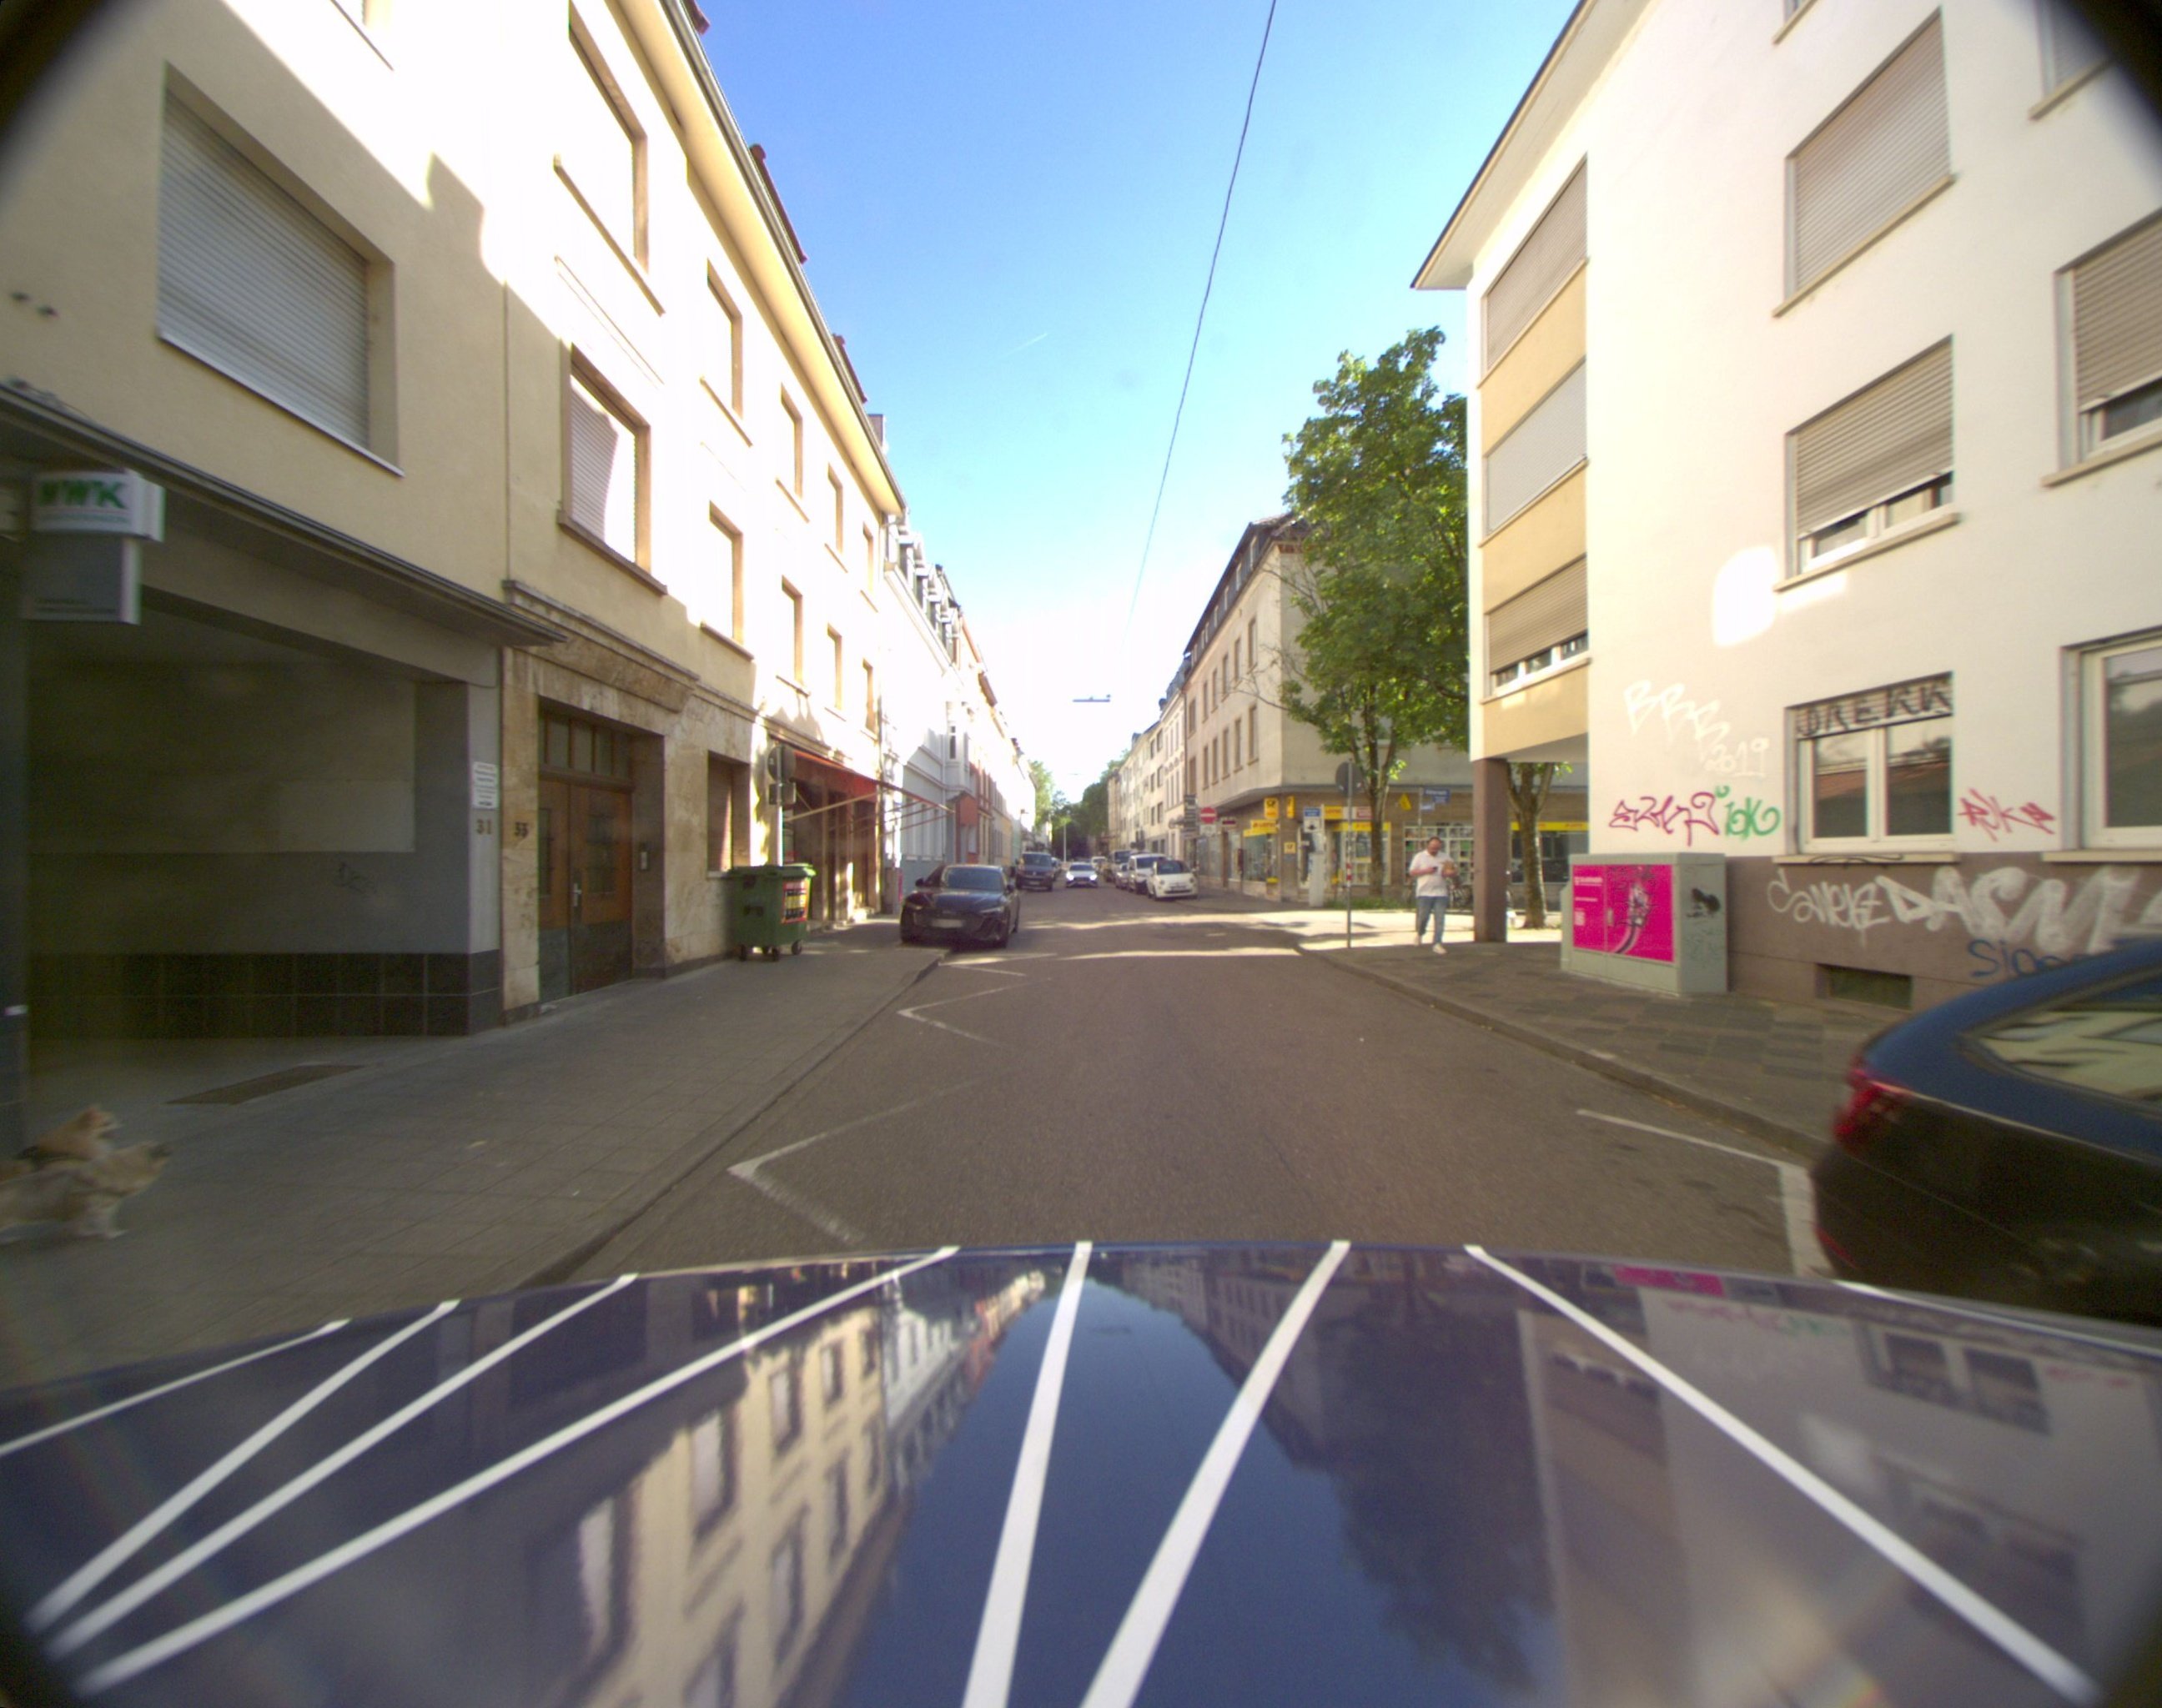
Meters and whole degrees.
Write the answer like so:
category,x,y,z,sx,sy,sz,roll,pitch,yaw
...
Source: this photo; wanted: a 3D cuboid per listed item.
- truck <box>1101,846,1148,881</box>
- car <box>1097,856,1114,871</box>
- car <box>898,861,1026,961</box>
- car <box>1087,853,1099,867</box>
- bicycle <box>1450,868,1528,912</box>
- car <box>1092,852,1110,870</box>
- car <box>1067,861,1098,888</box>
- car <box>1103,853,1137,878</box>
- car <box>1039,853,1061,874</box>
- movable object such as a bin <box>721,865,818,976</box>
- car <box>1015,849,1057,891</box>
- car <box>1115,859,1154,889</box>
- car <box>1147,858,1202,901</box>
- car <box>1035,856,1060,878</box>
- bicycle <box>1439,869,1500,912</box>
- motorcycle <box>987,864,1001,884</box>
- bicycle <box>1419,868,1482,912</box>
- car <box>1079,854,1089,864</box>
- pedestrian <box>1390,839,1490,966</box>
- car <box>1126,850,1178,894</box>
category,x,y,z,sx,sy,sz,roll,pitch,yaw
truck,2.962,0.584,52.976,2.171,2.295,6.343,1,1,-6
car,2.684,1.032,84.365,1.731,1.483,4.115,-1,0,1
car,-2.147,0.970,15.042,1.806,1.570,4.896,-1,0,-1
car,1.767,0.910,110.551,1.585,1.971,4.067,0,1,-1
bicycle,11.929,1.018,22.324,0.709,1.120,2.427,0,1,-8
car,2.385,0.763,90.864,1.913,2.076,4.696,0,0,-1
car,0.057,1.144,44.283,1.761,1.399,4.021,0,1,-1
car,3.088,0.857,61.273,1.918,1.871,5.182,2,0,-6
car,-2.820,0.831,70.768,1.898,1.875,4.457,0,1,-1
movable object such as a bin,-4.386,0.898,10.799,0.748,1.428,1.372,2,0,1
car,-2.302,0.806,39.994,1.975,2.017,4.898,-2,0,-2
car,2.887,1.039,41.610,1.669,1.514,4.488,1,0,-2
car,3.534,0.928,29.401,1.672,1.551,3.722,0,0,0
car,-2.514,0.960,57.664,1.745,1.534,4.050,0,1,-1
bicycle,11.331,1.034,22.254,0.523,1.111,2.403,0,1,-1
motorcycle,-4.912,1.093,42.997,0.638,1.038,2.362,0,1,-2
bicycle,10.663,1.008,22.029,0.709,1.136,2.307,0,1,0
car,0.524,0.916,140.175,1.787,1.674,4.021,0,1,-1
pedestrian,5.428,0.694,11.572,0.913,1.822,1.245,0,1,-1
car,3.234,0.806,35.613,1.771,1.887,4.808,1,0,-2
